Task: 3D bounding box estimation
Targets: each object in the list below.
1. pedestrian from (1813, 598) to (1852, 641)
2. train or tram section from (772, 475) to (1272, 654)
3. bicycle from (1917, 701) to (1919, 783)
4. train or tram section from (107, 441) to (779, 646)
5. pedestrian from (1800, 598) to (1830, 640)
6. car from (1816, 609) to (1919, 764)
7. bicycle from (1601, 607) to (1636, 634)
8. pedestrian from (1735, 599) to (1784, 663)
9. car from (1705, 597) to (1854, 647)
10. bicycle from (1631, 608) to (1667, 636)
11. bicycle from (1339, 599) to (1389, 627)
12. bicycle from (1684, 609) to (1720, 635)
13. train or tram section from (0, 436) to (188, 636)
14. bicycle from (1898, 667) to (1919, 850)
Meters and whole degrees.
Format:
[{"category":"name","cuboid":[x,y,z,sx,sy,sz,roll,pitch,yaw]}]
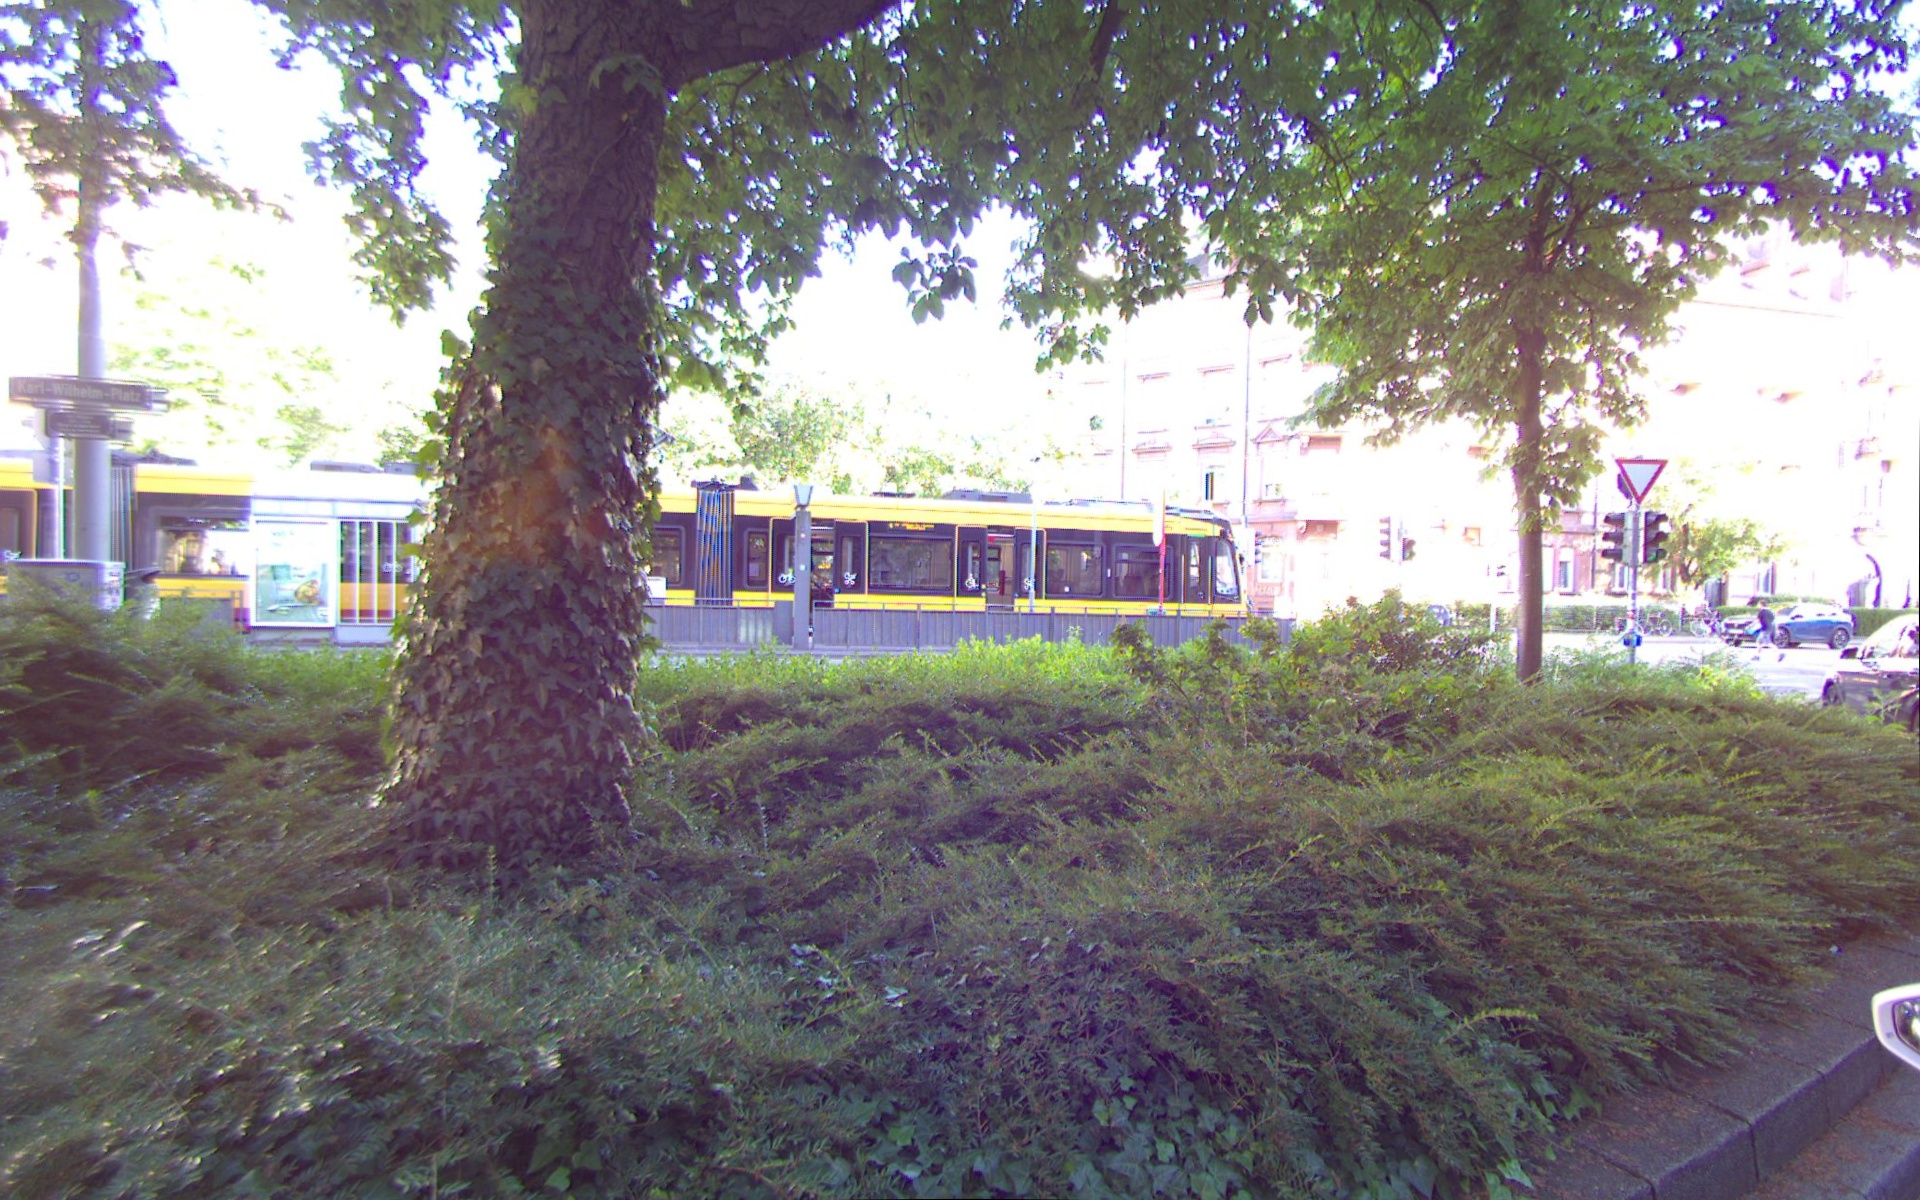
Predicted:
[{"category":"pedestrian","cuboid":[36.235,0.805,41.706,0.880,1.688,0.712,1,4,5]},{"category":"train or tram section","cuboid":[1.472,-0.716,24.065,11.598,3.668,2.793,1,1,-13]},{"category":"bicycle","cuboid":[8.122,1.004,7.740,0.799,1.200,2.218,2,1,37]},{"category":"train or tram section","cuboid":[-10.118,-1.011,21.334,12.206,3.635,2.779,1,1,-13]},{"category":"pedestrian","cuboid":[36.332,0.797,42.687,0.624,1.738,0.664,1,1,1]},{"category":"car","cuboid":[11.136,0.888,11.020,1.762,1.562,3.855,0,0,27]},{"category":"bicycle","cuboid":[27.670,0.862,42.227,1.210,1.122,0.442,1,2,-7]},{"category":"pedestrian","cuboid":[22.120,0.839,27.784,0.720,1.657,0.893,-1,4,-44]},{"category":"car","cuboid":[30.003,0.788,36.824,4.333,1.672,1.944,1,1,-12]},{"category":"bicycle","cuboid":[29.060,0.931,42.371,1.210,1.122,0.442,1,2,-7]},{"category":"bicycle","cuboid":[17.580,0.563,43.728,1.928,1.122,0.443,3,2,22]},{"category":"bicycle","cuboid":[31.590,0.935,42.760,1.211,1.052,0.442,1,2,-8]},{"category":"train or tram section","cuboid":[-22.138,-1.309,18.510,12.463,3.605,2.766,1,1,-13]},{"category":"bicycle","cuboid":[6.050,1.011,5.473,0.705,1.122,1.965,2,1,23]}]
